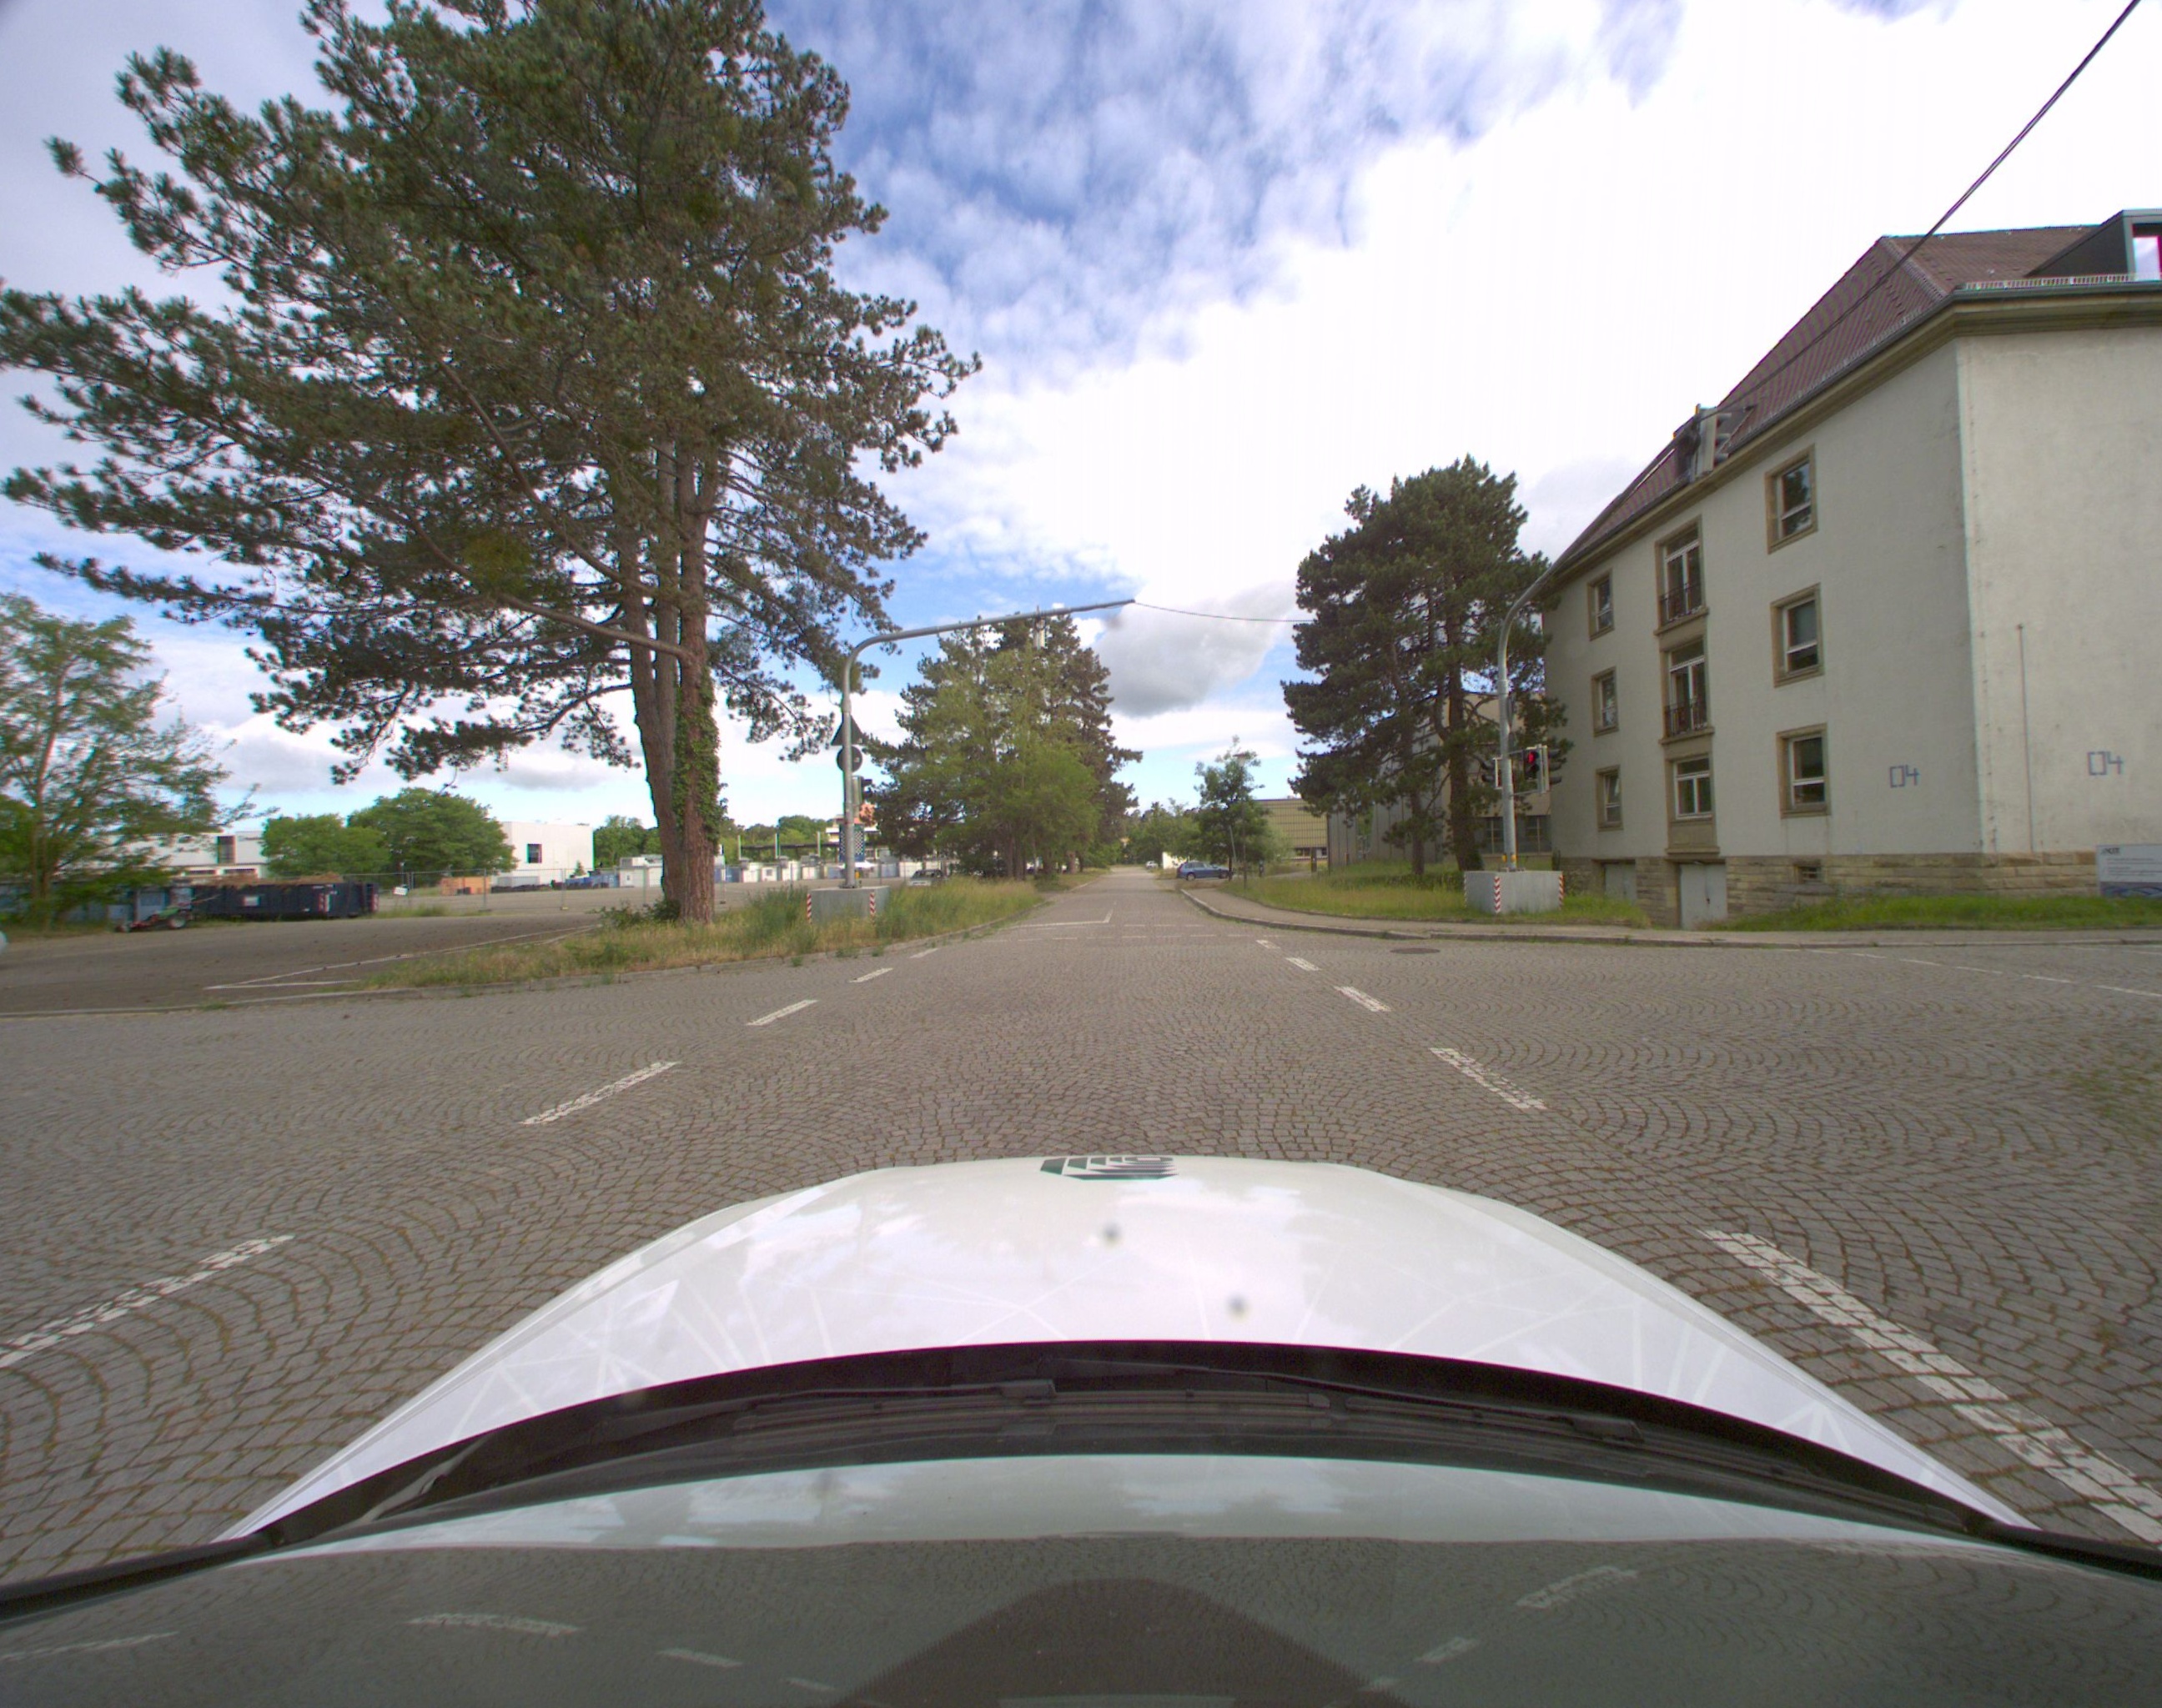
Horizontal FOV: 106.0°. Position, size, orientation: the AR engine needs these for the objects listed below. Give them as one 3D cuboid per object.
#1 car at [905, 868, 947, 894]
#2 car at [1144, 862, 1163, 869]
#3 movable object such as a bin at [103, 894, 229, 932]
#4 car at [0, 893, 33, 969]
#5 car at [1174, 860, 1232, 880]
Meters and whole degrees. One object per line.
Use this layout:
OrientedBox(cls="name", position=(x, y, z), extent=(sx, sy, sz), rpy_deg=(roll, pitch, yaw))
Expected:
OrientedBox(cls="car", position=(-9.615, 1.642, 50.811), extent=(1.606, 1.487, 4.004), rpy_deg=(-2, -1, 4))
OrientedBox(cls="car", position=(16.233, 2.493, 181.740), extent=(3.977, 1.398, 1.998), rpy_deg=(-2, -1, -3))
OrientedBox(cls="movable object such as a bin", position=(-30.106, 1.903, 26.881), extent=(1.174, 1.048, 2.657), rpy_deg=(-2, -1, -1))
OrientedBox(cls="car", position=(-21.987, 1.598, 13.953), extent=(1.803, 1.441, 4.741), rpy_deg=(-2, 1, 1))
OrientedBox(cls="car", position=(9.666, 1.227, 64.750), extent=(4.328, 1.422, 2.000), rpy_deg=(-2, -1, 1))
